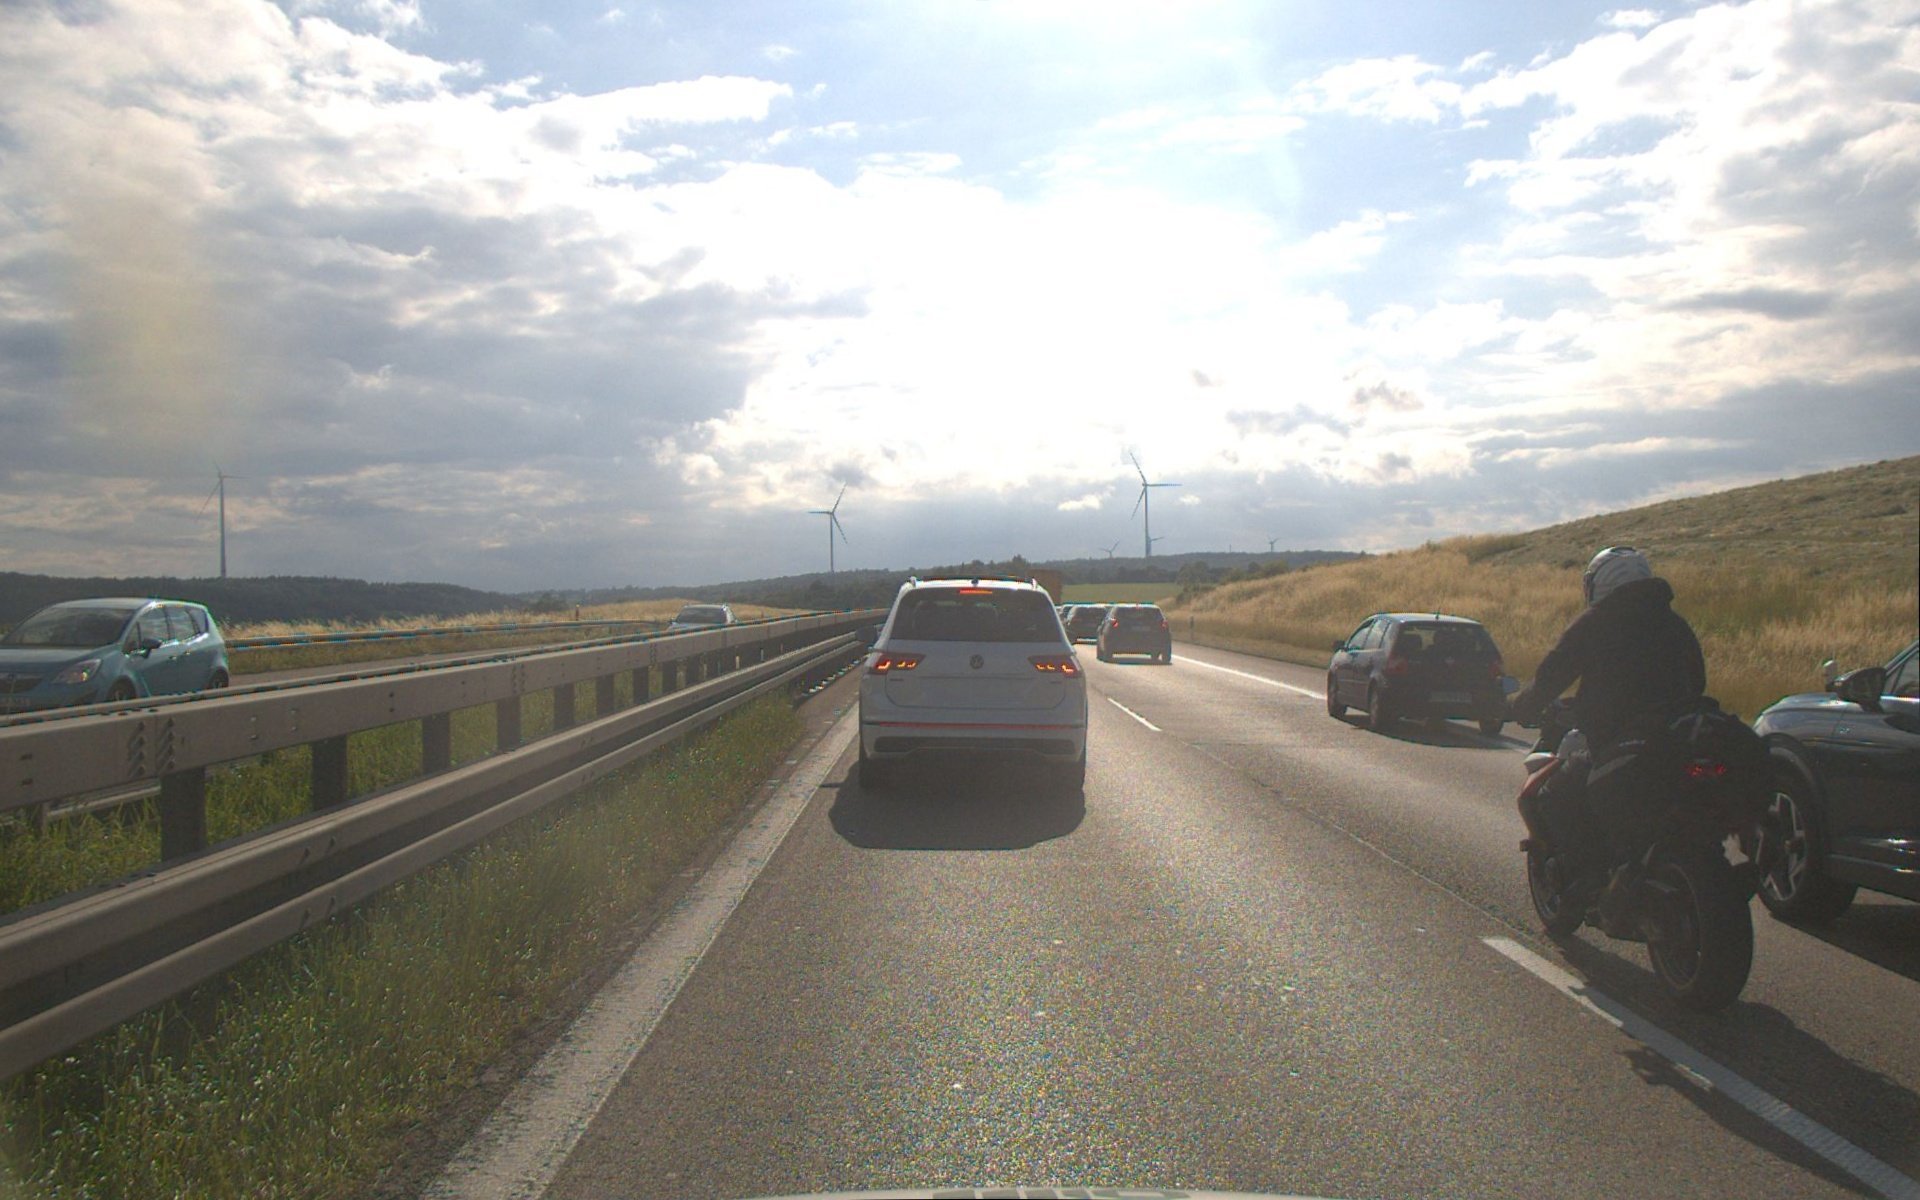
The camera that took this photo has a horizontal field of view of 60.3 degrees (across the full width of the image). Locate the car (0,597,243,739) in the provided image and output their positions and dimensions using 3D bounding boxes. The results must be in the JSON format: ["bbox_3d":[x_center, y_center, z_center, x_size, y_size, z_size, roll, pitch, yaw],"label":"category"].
[{"bbox_3d":[-10.833,0.786,20.989,1.699,1.616,4.116,0,0,-1],"label":"car"}]

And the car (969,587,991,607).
[{"bbox_3d":[1.601,-0.241,131.847,1.669,1.573,3.999,0,0,-1],"label":"car"}]

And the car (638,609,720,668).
[{"bbox_3d":[-7.610,1.018,45.131,1.565,1.541,4.159,0,0,-1],"label":"car"}]

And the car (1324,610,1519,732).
[{"bbox_3d":[5.926,0.861,21.607,1.572,1.445,3.672,0,0,1],"label":"car"}]

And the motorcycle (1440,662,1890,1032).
[{"bbox_3d":[2.782,0.903,6.880,0.877,1.211,2.256,0,0,-1],"label":"motorcycle"}]

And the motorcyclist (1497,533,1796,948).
[{"bbox_3d":[2.787,0.542,6.811,0.832,1.587,0.934,0,-1,-1],"label":"motorcyclist"}]

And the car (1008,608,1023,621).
[{"bbox_3d":[6.855,1.740,204.180,1.669,1.573,3.999,0,0,-1],"label":"car"}]

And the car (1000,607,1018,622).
[{"bbox_3d":[5.125,1.532,173.361,1.669,1.573,3.999,0,0,-1],"label":"car"}]

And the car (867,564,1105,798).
[{"bbox_3d":[0.173,0.610,14.143,1.734,1.705,3.999,0,0,-1],"label":"car"}]

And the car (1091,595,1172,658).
[{"bbox_3d":[4.466,0.674,43.554,1.669,1.573,3.999,0,0,-1],"label":"car"}]

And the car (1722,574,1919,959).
[{"bbox_3d":[4.967,0.730,6.652,1.784,1.629,4.234,2,0,-1],"label":"car"}]

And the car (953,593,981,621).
[{"bbox_3d":[0.434,0.451,101.957,1.669,1.679,3.999,0,0,-1],"label":"car"}]

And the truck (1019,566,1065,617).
[{"bbox_3d":[6.159,-0.665,125.741,3.118,3.656,11.132,0,0,1],"label":"truck"}]

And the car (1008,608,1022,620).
[{"bbox_3d":[6.965,1.781,210.518,1.669,1.573,3.999,0,0,-1],"label":"car"}]

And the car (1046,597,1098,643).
[{"bbox_3d":[4.210,0.753,62.577,1.669,1.679,3.999,0,0,-1],"label":"car"}]
